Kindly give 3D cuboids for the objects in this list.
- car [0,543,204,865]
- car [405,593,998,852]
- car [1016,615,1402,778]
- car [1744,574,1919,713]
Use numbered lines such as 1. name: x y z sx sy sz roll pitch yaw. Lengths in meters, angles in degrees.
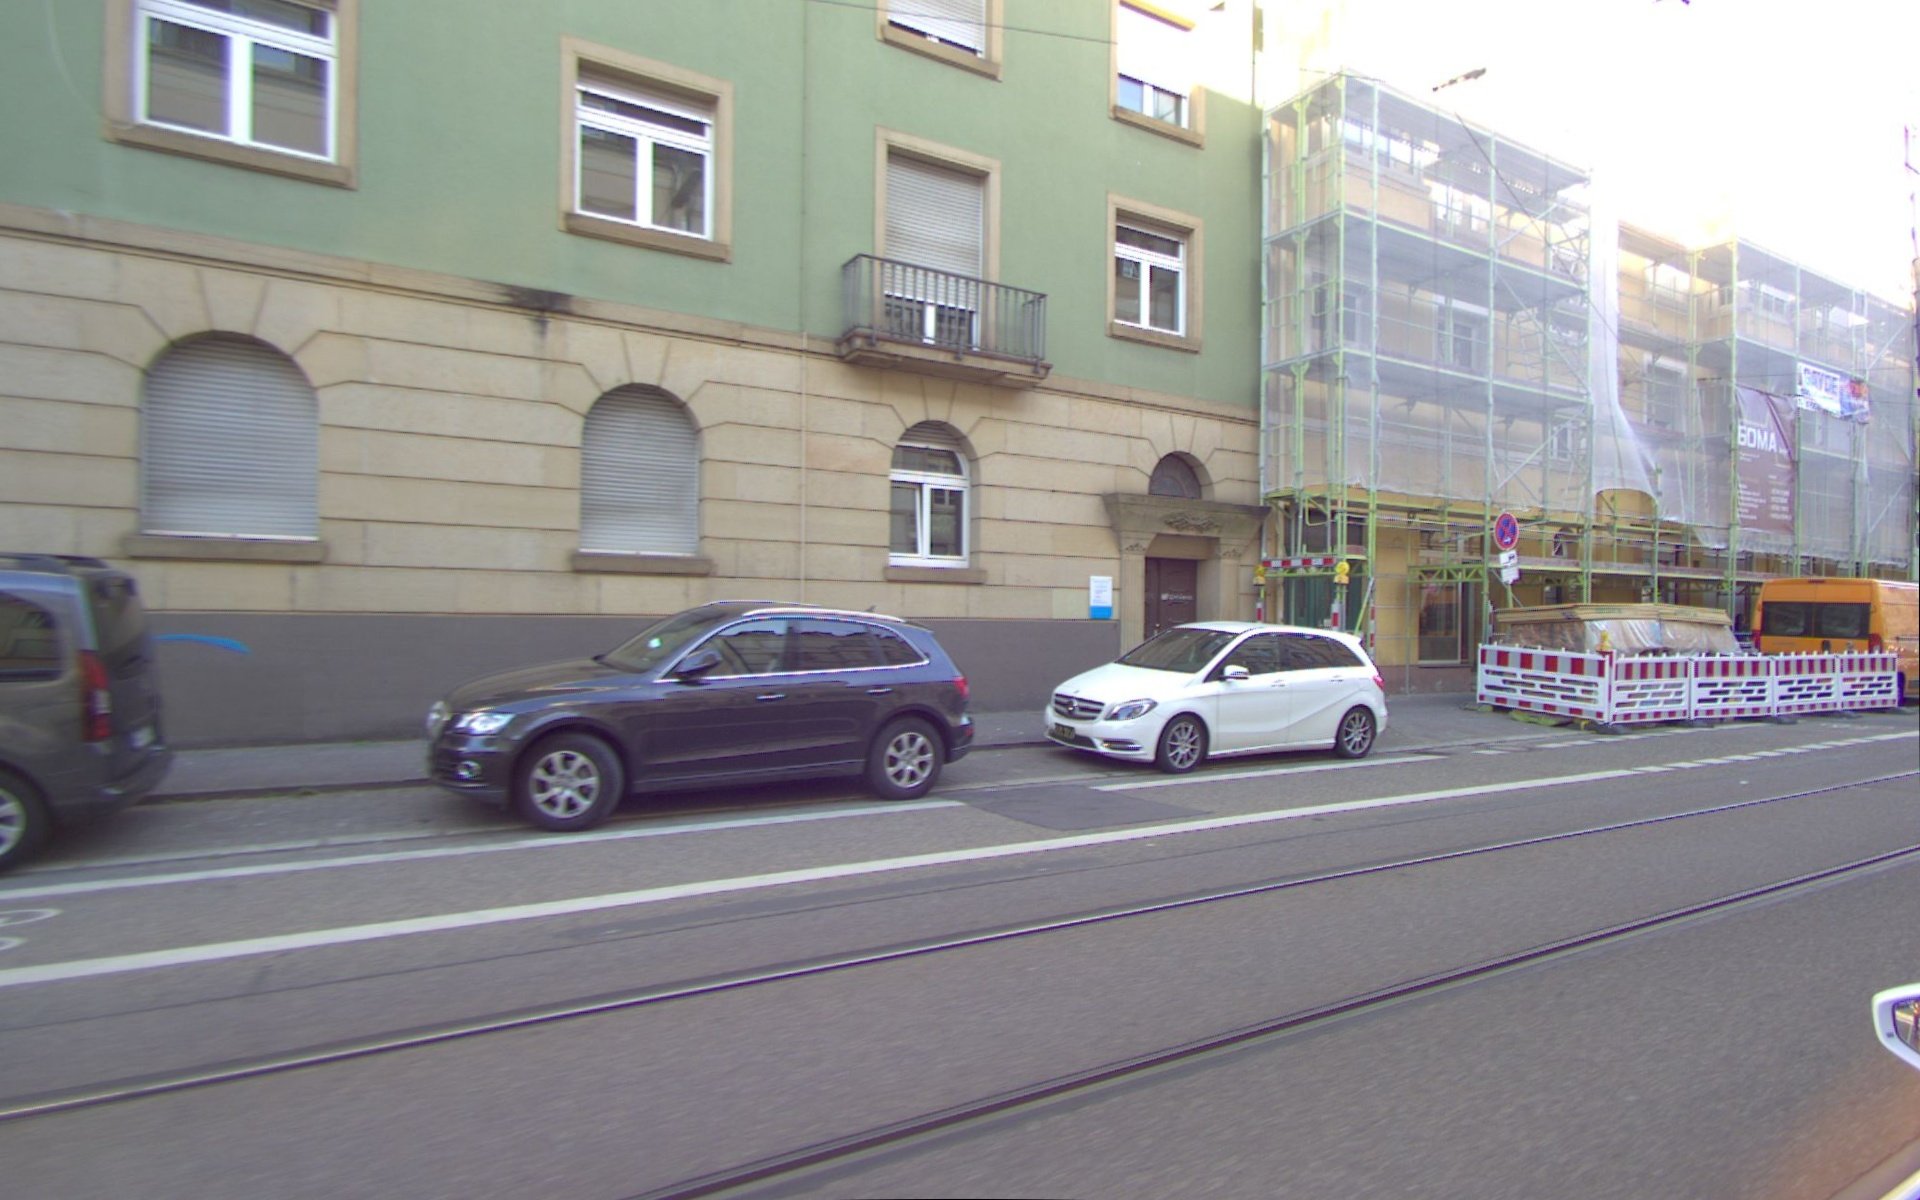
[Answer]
1. car: -7.254 0.538 5.721 4.473 1.840 1.775 1 1 -30
2. car: -2.066 0.839 8.545 4.558 1.648 1.773 1 1 -33
3. car: 2.949 1.003 11.668 4.334 1.523 1.710 1 1 -29
4. car: 18.186 0.834 20.325 4.925 2.508 2.132 1 -1 -33
